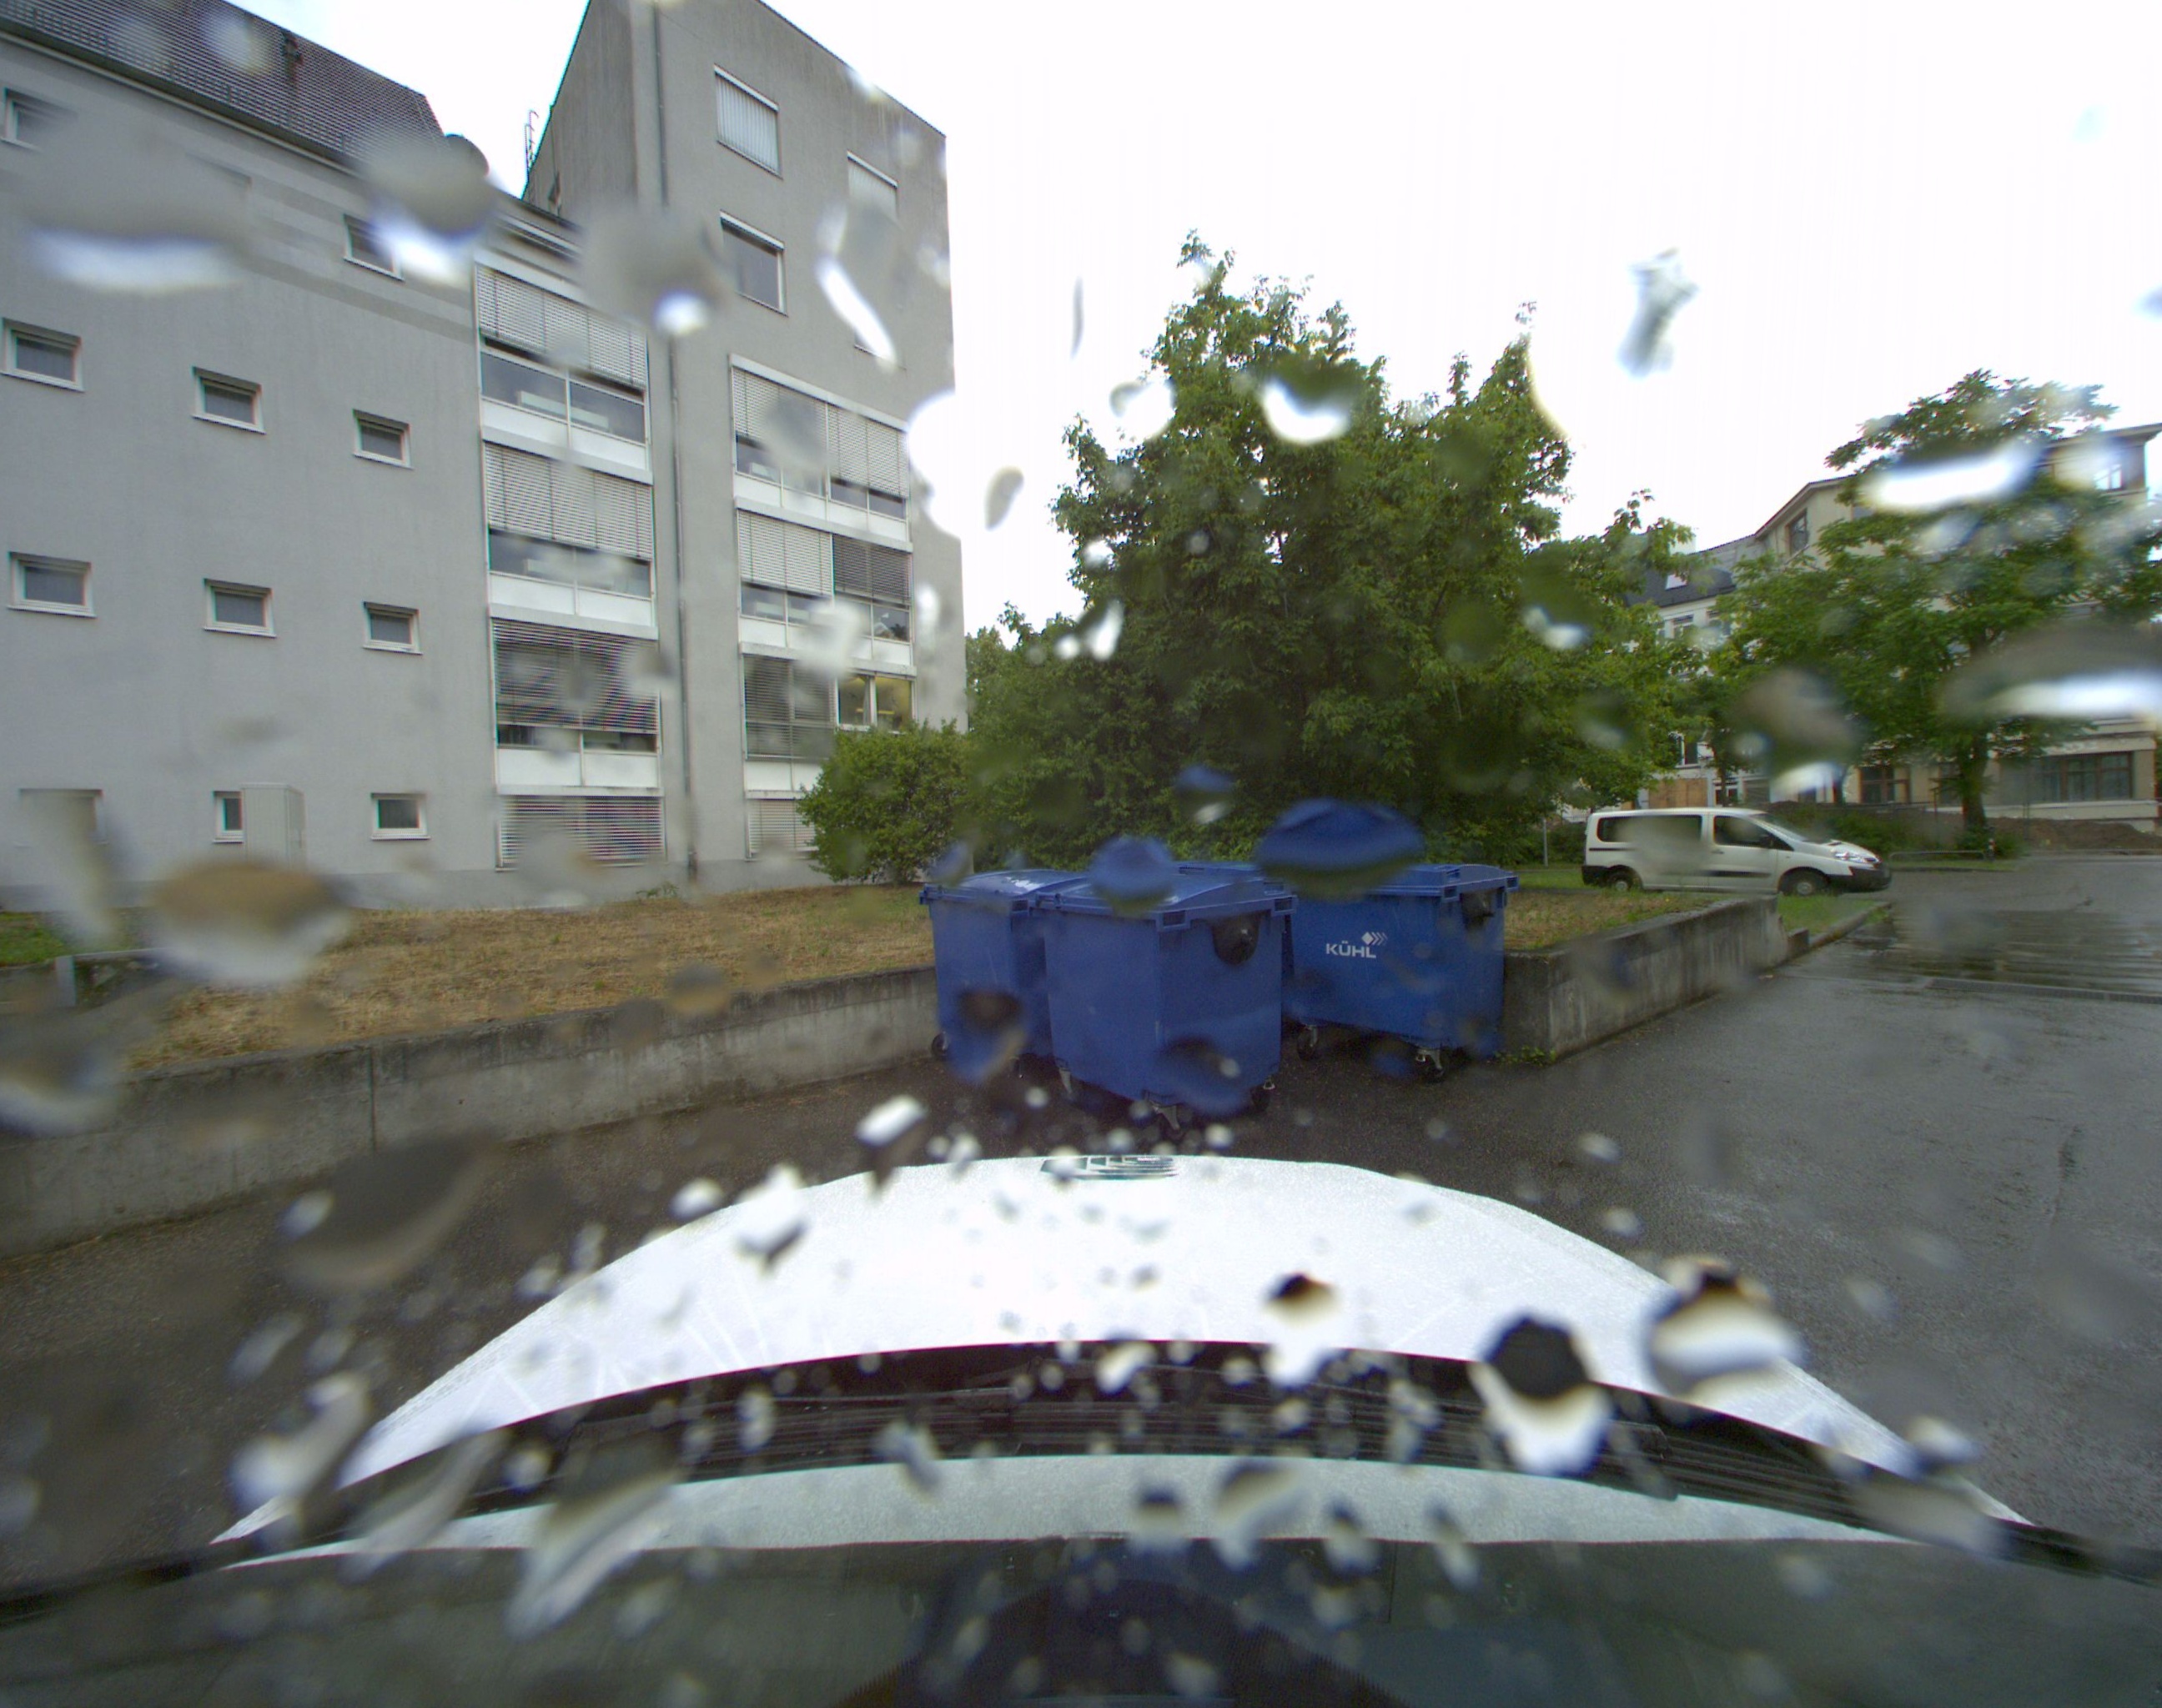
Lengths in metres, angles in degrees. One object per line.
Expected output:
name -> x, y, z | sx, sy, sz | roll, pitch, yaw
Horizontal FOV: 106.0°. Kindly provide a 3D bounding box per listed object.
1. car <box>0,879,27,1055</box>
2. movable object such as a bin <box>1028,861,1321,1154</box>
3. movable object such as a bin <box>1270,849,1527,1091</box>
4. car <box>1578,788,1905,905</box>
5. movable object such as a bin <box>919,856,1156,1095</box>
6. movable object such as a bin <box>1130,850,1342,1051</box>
car -> -8.138, 0.970, 4.617 | 1.832, 1.333, 4.130 | -4, 4, -41
movable object such as a bin -> 0.499, 0.733, 4.642 | 1.121, 1.337, 1.194 | -2, 0, -34
movable object such as a bin -> 2.091, 0.668, 5.432 | 1.011, 1.337, 1.211 | -3, 1, -37
car -> 13.101, -0.113, 16.478 | 2.009, 2.013, 4.742 | -3, 0, -37
movable object such as a bin -> -0.317, 0.733, 5.670 | 1.122, 1.336, 1.193 | -5, 4, -37
movable object such as a bin -> 1.198, 0.675, 6.403 | 1.011, 1.337, 1.211 | -4, 1, -37
